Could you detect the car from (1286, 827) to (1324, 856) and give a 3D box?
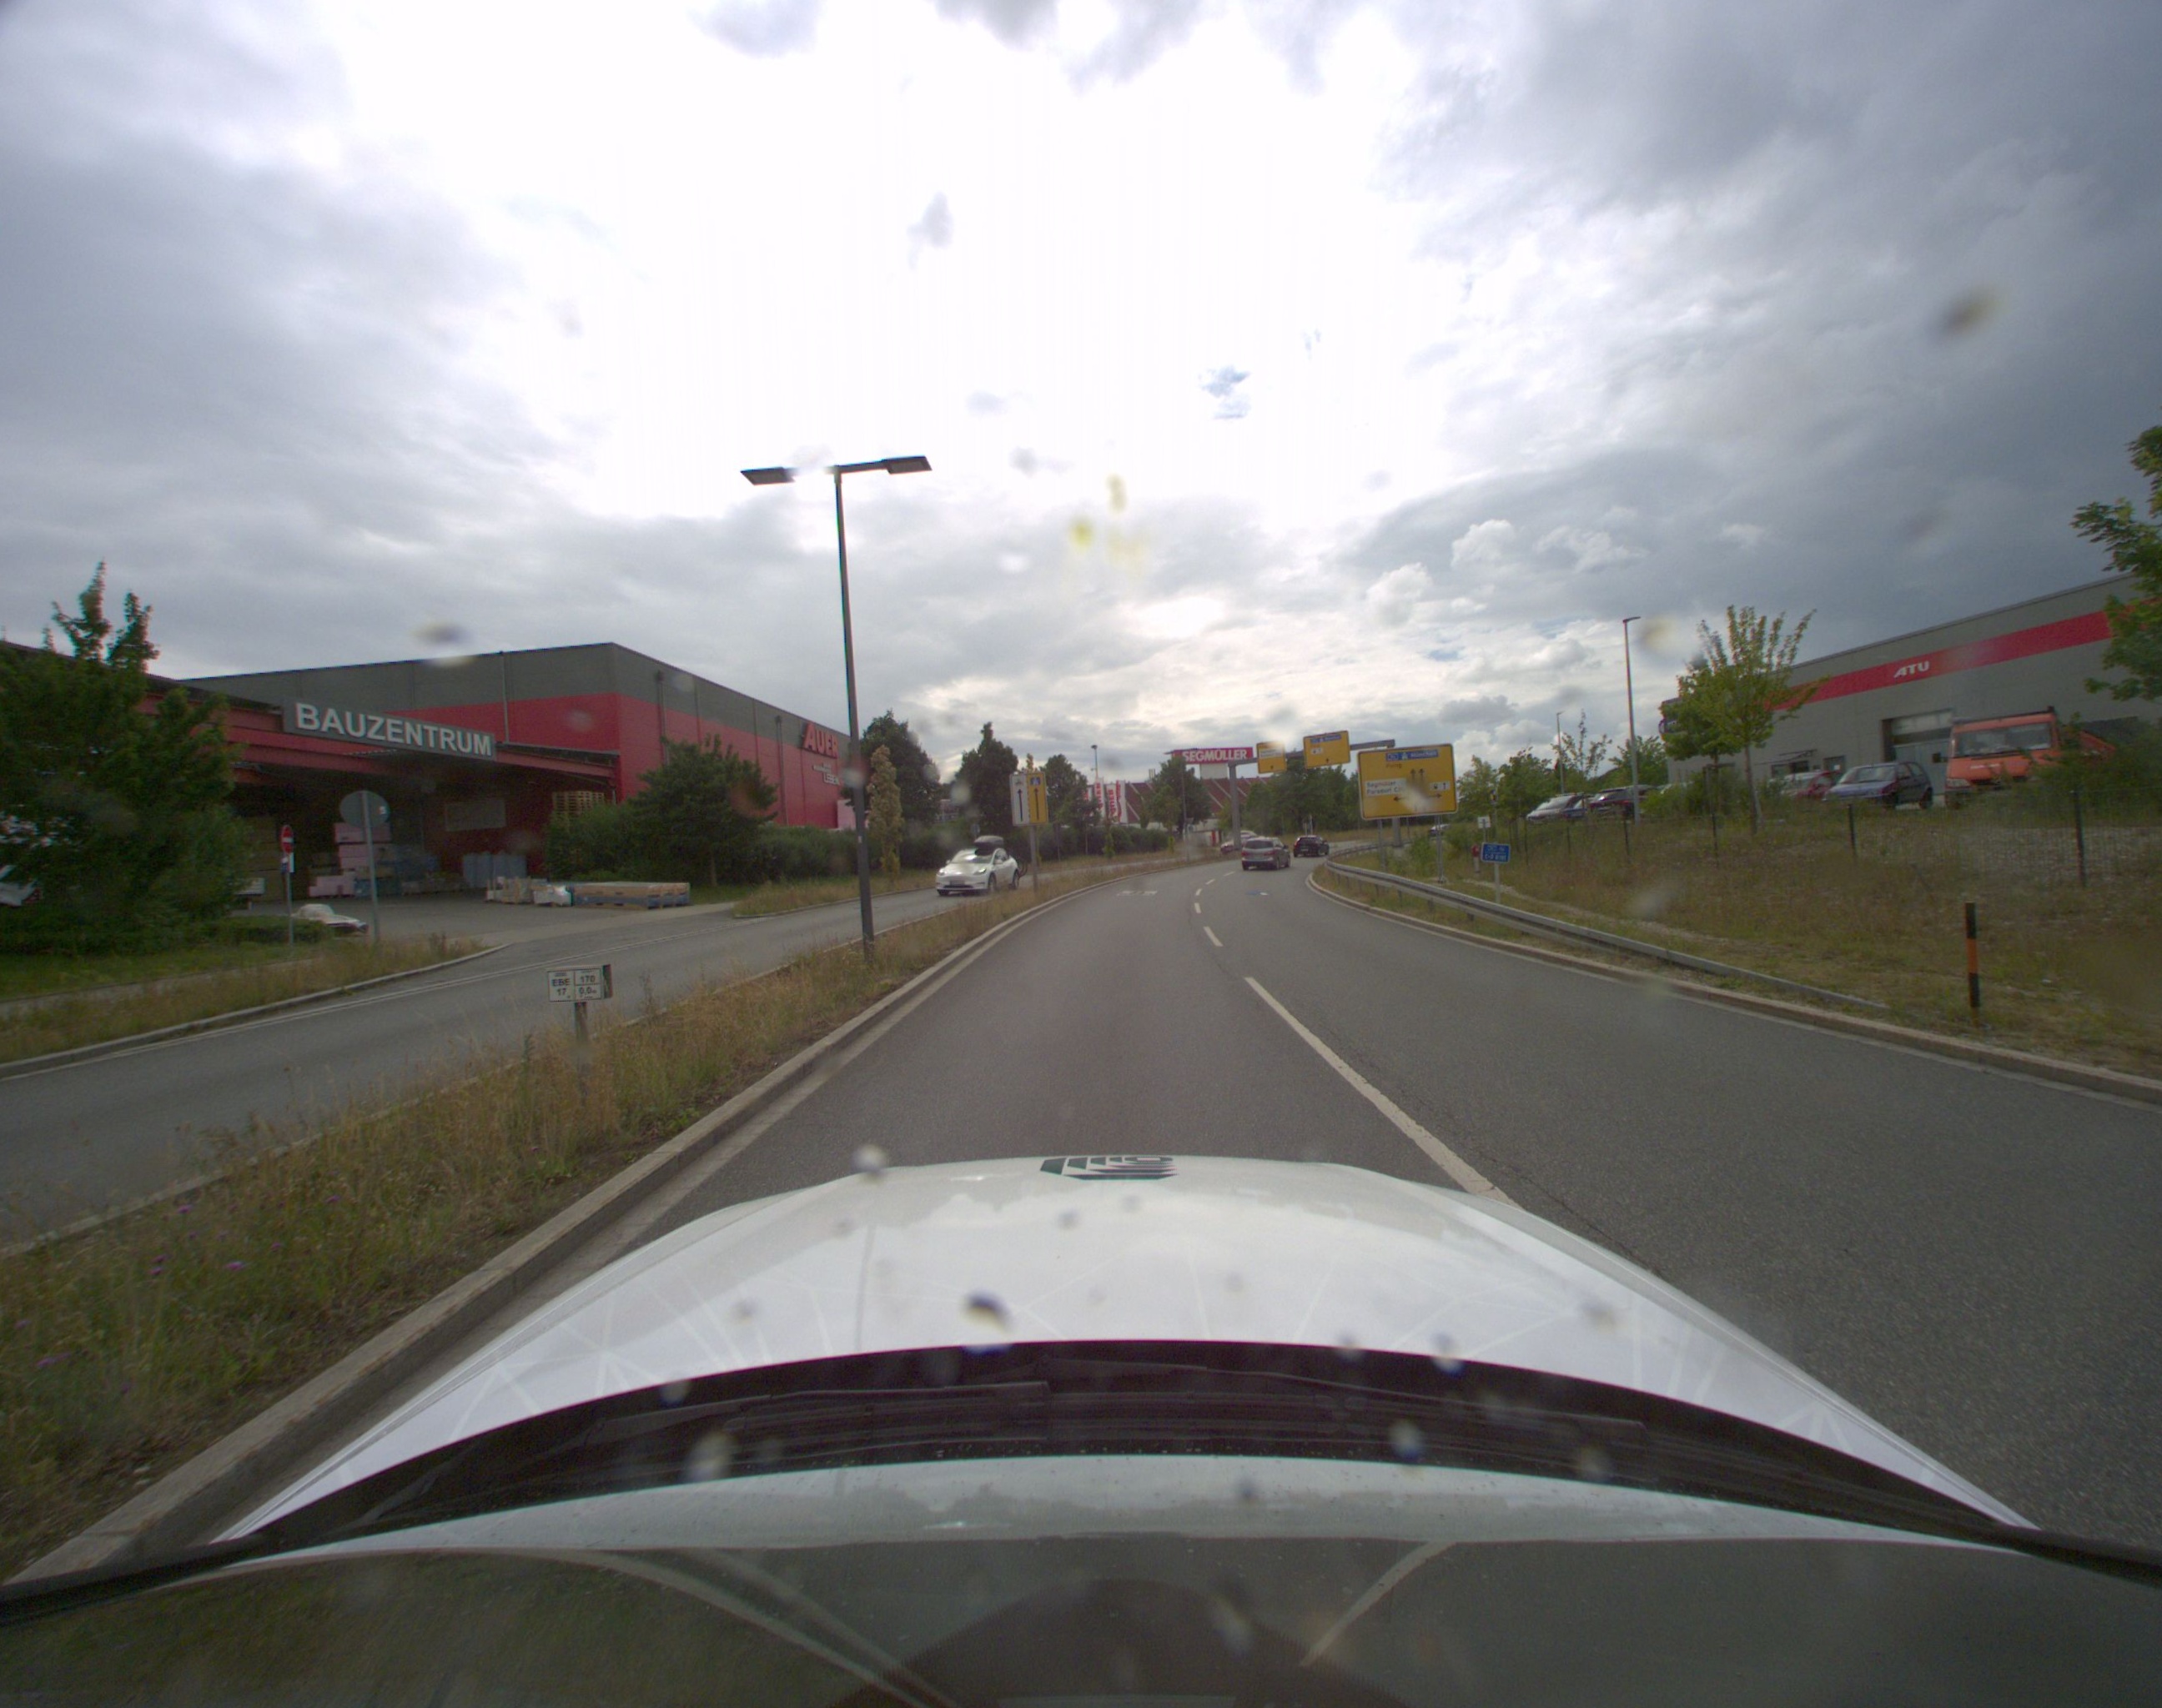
[{"bbox_3d":[15.195,-0.856,55.120,1.852,1.604,3.757,-5,2,23],"label":"car"}]

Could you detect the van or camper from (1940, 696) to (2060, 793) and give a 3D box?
[{"bbox_3d":[23.647,-2.691,20.907,4.700,1.997,1.792,-3,-1,-40],"label":"van or camper"}]

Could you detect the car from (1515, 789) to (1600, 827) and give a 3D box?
[{"bbox_3d":[23.987,-2.296,40.961,4.180,1.782,1.788,-2,1,-28],"label":"car"}]

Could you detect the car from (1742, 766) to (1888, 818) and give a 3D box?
[{"bbox_3d":[23.983,-2.030,26.601,4.593,1.400,1.691,-3,-1,-23],"label":"car"}]

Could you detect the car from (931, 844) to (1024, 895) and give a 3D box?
[{"bbox_3d":[-3.612,0.492,29.476,1.896,1.626,4.653,0,1,12],"label":"car"}]

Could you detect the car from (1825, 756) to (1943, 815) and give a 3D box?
[{"bbox_3d":[23.205,-1.993,23.522,3.317,1.381,1.487,-6,1,-29],"label":"car"}]

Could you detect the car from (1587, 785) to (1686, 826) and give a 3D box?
[{"bbox_3d":[23.639,-2.068,34.669,3.732,1.653,1.509,-1,1,-18],"label":"car"}]

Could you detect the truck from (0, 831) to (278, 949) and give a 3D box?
[{"bbox_3d":[-23.688,0.729,19.872,2.024,2.487,5.914,1,0,4],"label":"truck"}]

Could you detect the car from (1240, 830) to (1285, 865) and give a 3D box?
[{"bbox_3d":[9.215,-0.291,41.201,1.753,1.617,3.939,-3,-2,18],"label":"car"}]

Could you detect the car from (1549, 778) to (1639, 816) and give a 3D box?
[{"bbox_3d":[24.197,-2.671,38.417,3.862,1.653,1.720,-2,1,-23],"label":"car"}]

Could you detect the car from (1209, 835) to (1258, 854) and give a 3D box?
[{"bbox_3d":[12.428,-0.818,66.159,1.774,1.447,5.003,0,1,40],"label":"car"}]

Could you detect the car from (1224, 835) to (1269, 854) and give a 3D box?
[{"bbox_3d":[15.565,-0.913,76.760,1.879,1.549,4.215,-3,0,-29],"label":"car"}]
